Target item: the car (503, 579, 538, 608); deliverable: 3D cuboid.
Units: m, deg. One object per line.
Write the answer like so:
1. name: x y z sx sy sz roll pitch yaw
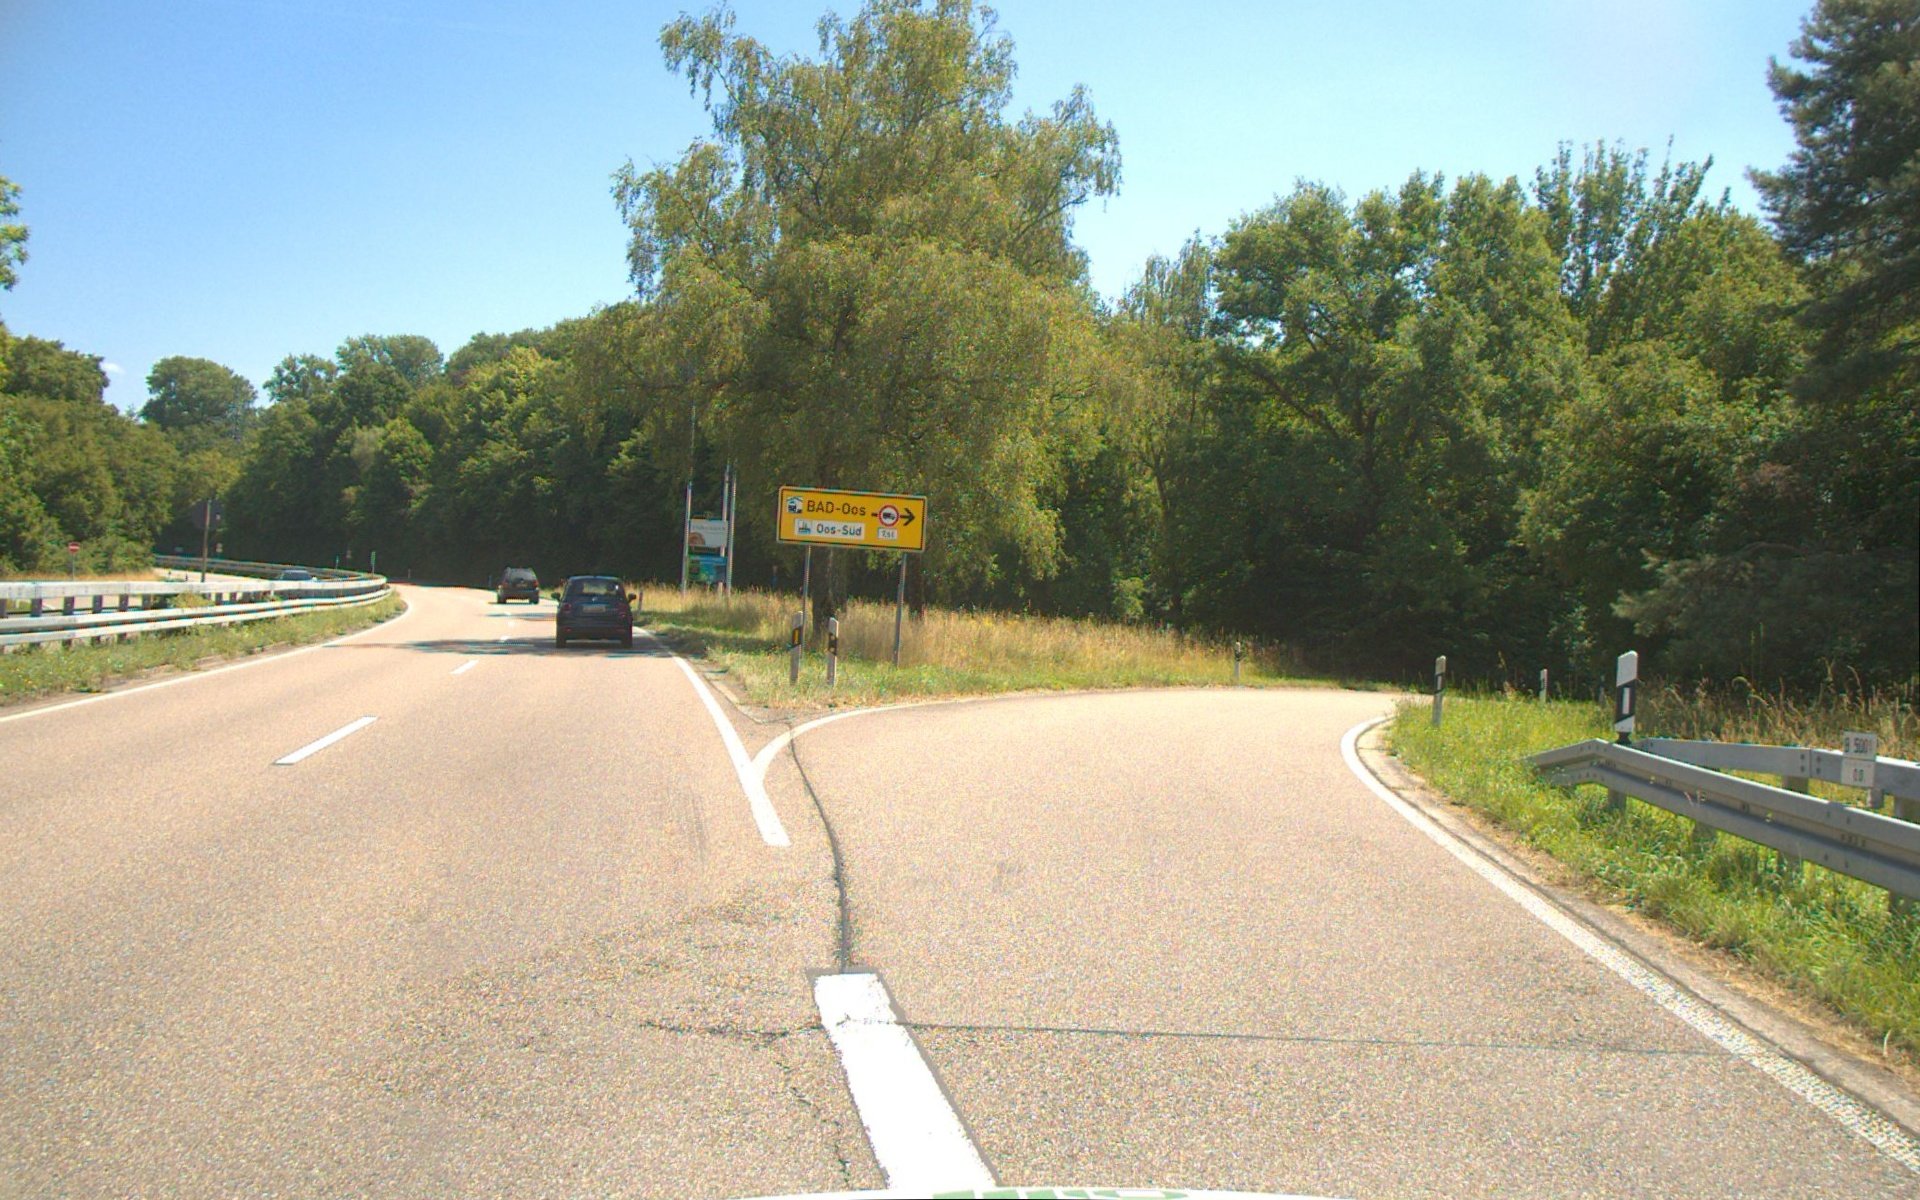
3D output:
1. car: -21.356 -0.328 80.314 1.501 1.336 3.399 1 0 -17

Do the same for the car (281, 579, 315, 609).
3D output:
1. car: -32.969 -0.312 82.438 1.419 1.405 3.826 1 0 -20

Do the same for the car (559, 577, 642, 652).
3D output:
1. car: -7.763 0.289 35.944 1.485 1.527 3.583 1 0 -8
